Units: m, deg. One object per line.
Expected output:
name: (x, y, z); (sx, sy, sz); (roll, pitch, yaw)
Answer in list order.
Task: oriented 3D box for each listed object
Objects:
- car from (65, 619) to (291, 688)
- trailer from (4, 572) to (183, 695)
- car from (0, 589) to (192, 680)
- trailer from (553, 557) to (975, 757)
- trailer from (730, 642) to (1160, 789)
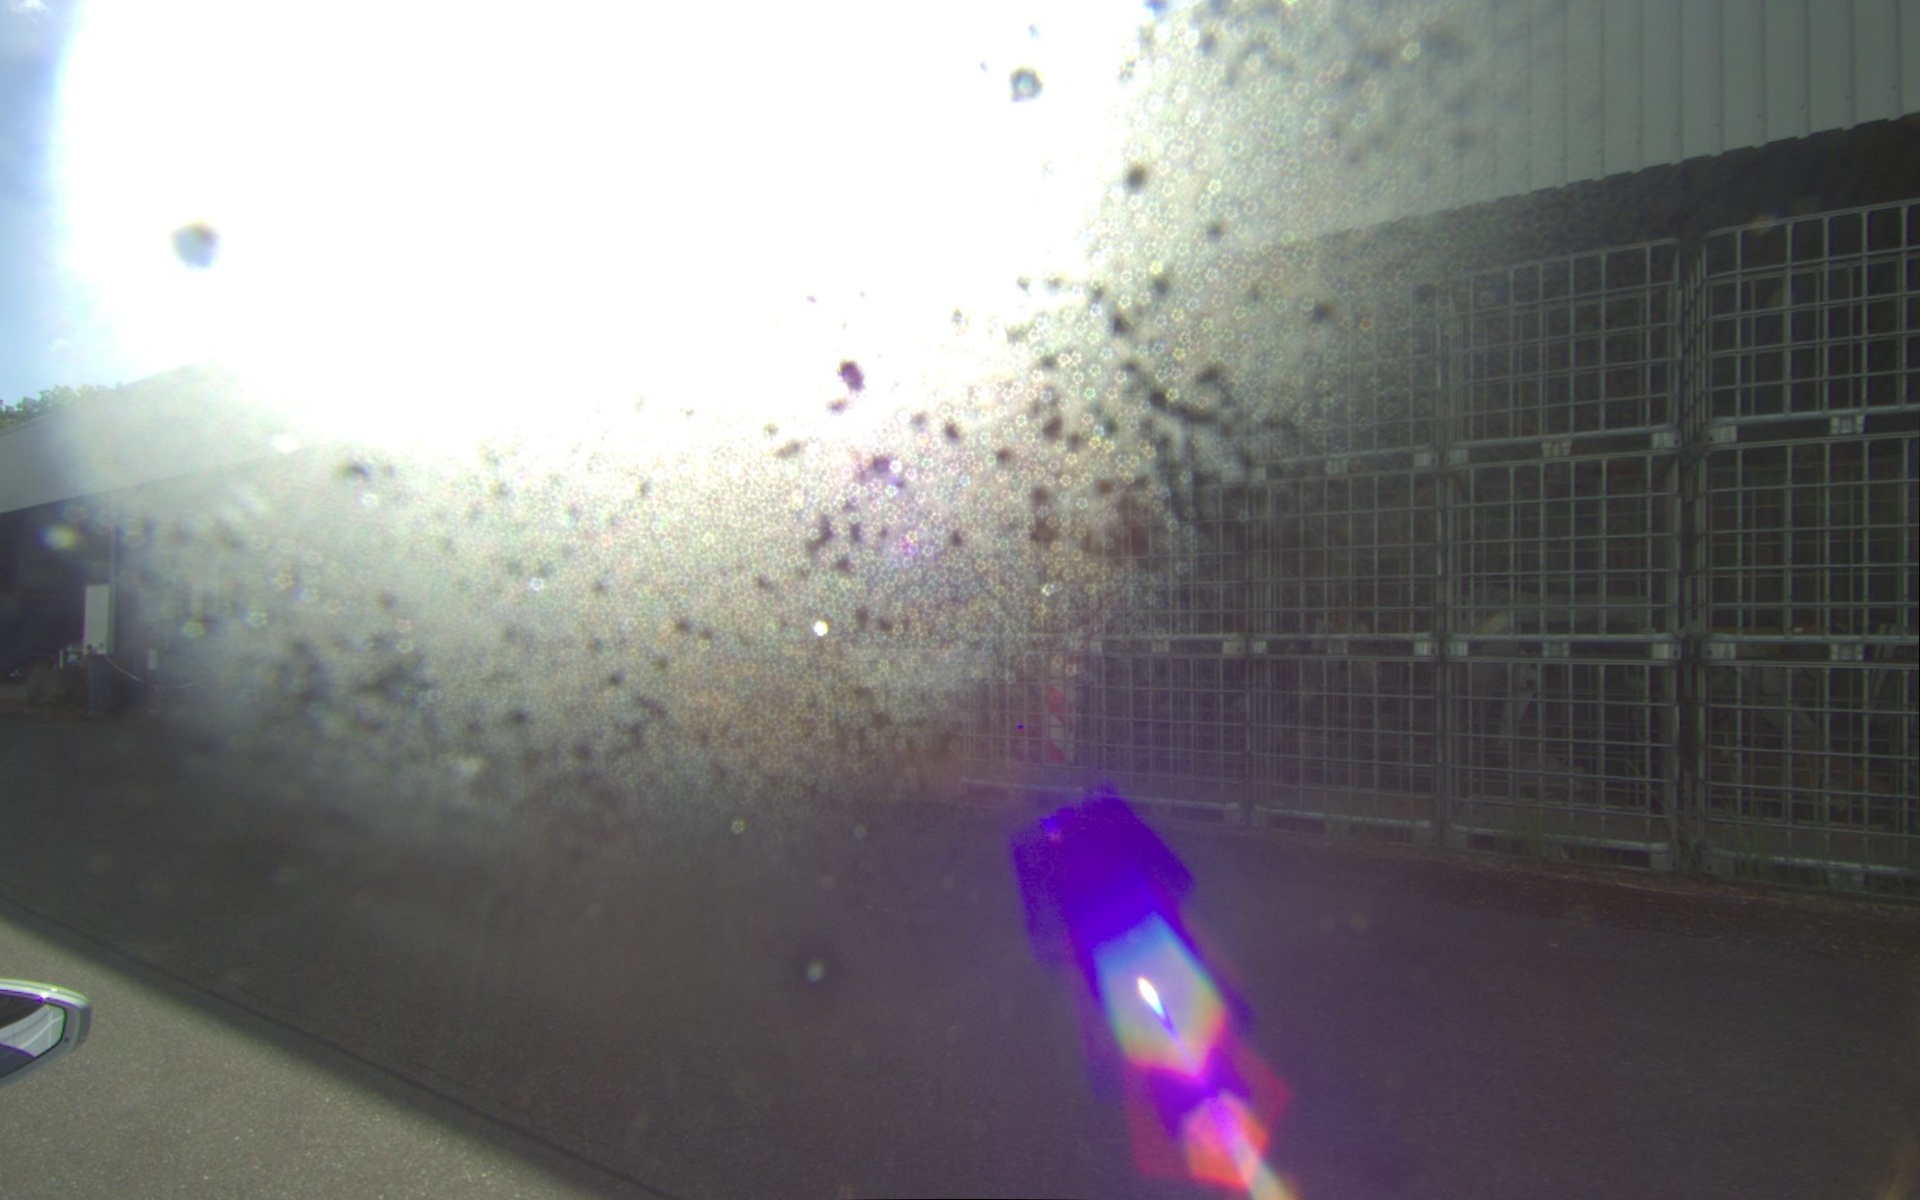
car: (-19.034, 1.361, 24.563); (1.662, 1.542, 4.031); (-3, -5, 33)
trailer: (-18.438, 0.741, 21.363); (1.703, 2.429, 2.518); (-2, -3, 34)
car: (-24.498, 1.061, 27.954); (1.890, 2.337, 4.426); (-3, -5, 33)
trailer: (-2.223, 0.682, 13.298); (2.049, 2.058, 5.753); (0, -2, 34)
trailer: (0.251, 1.076, 11.294); (2.110, 1.147, 5.840); (-1, -2, 31)
